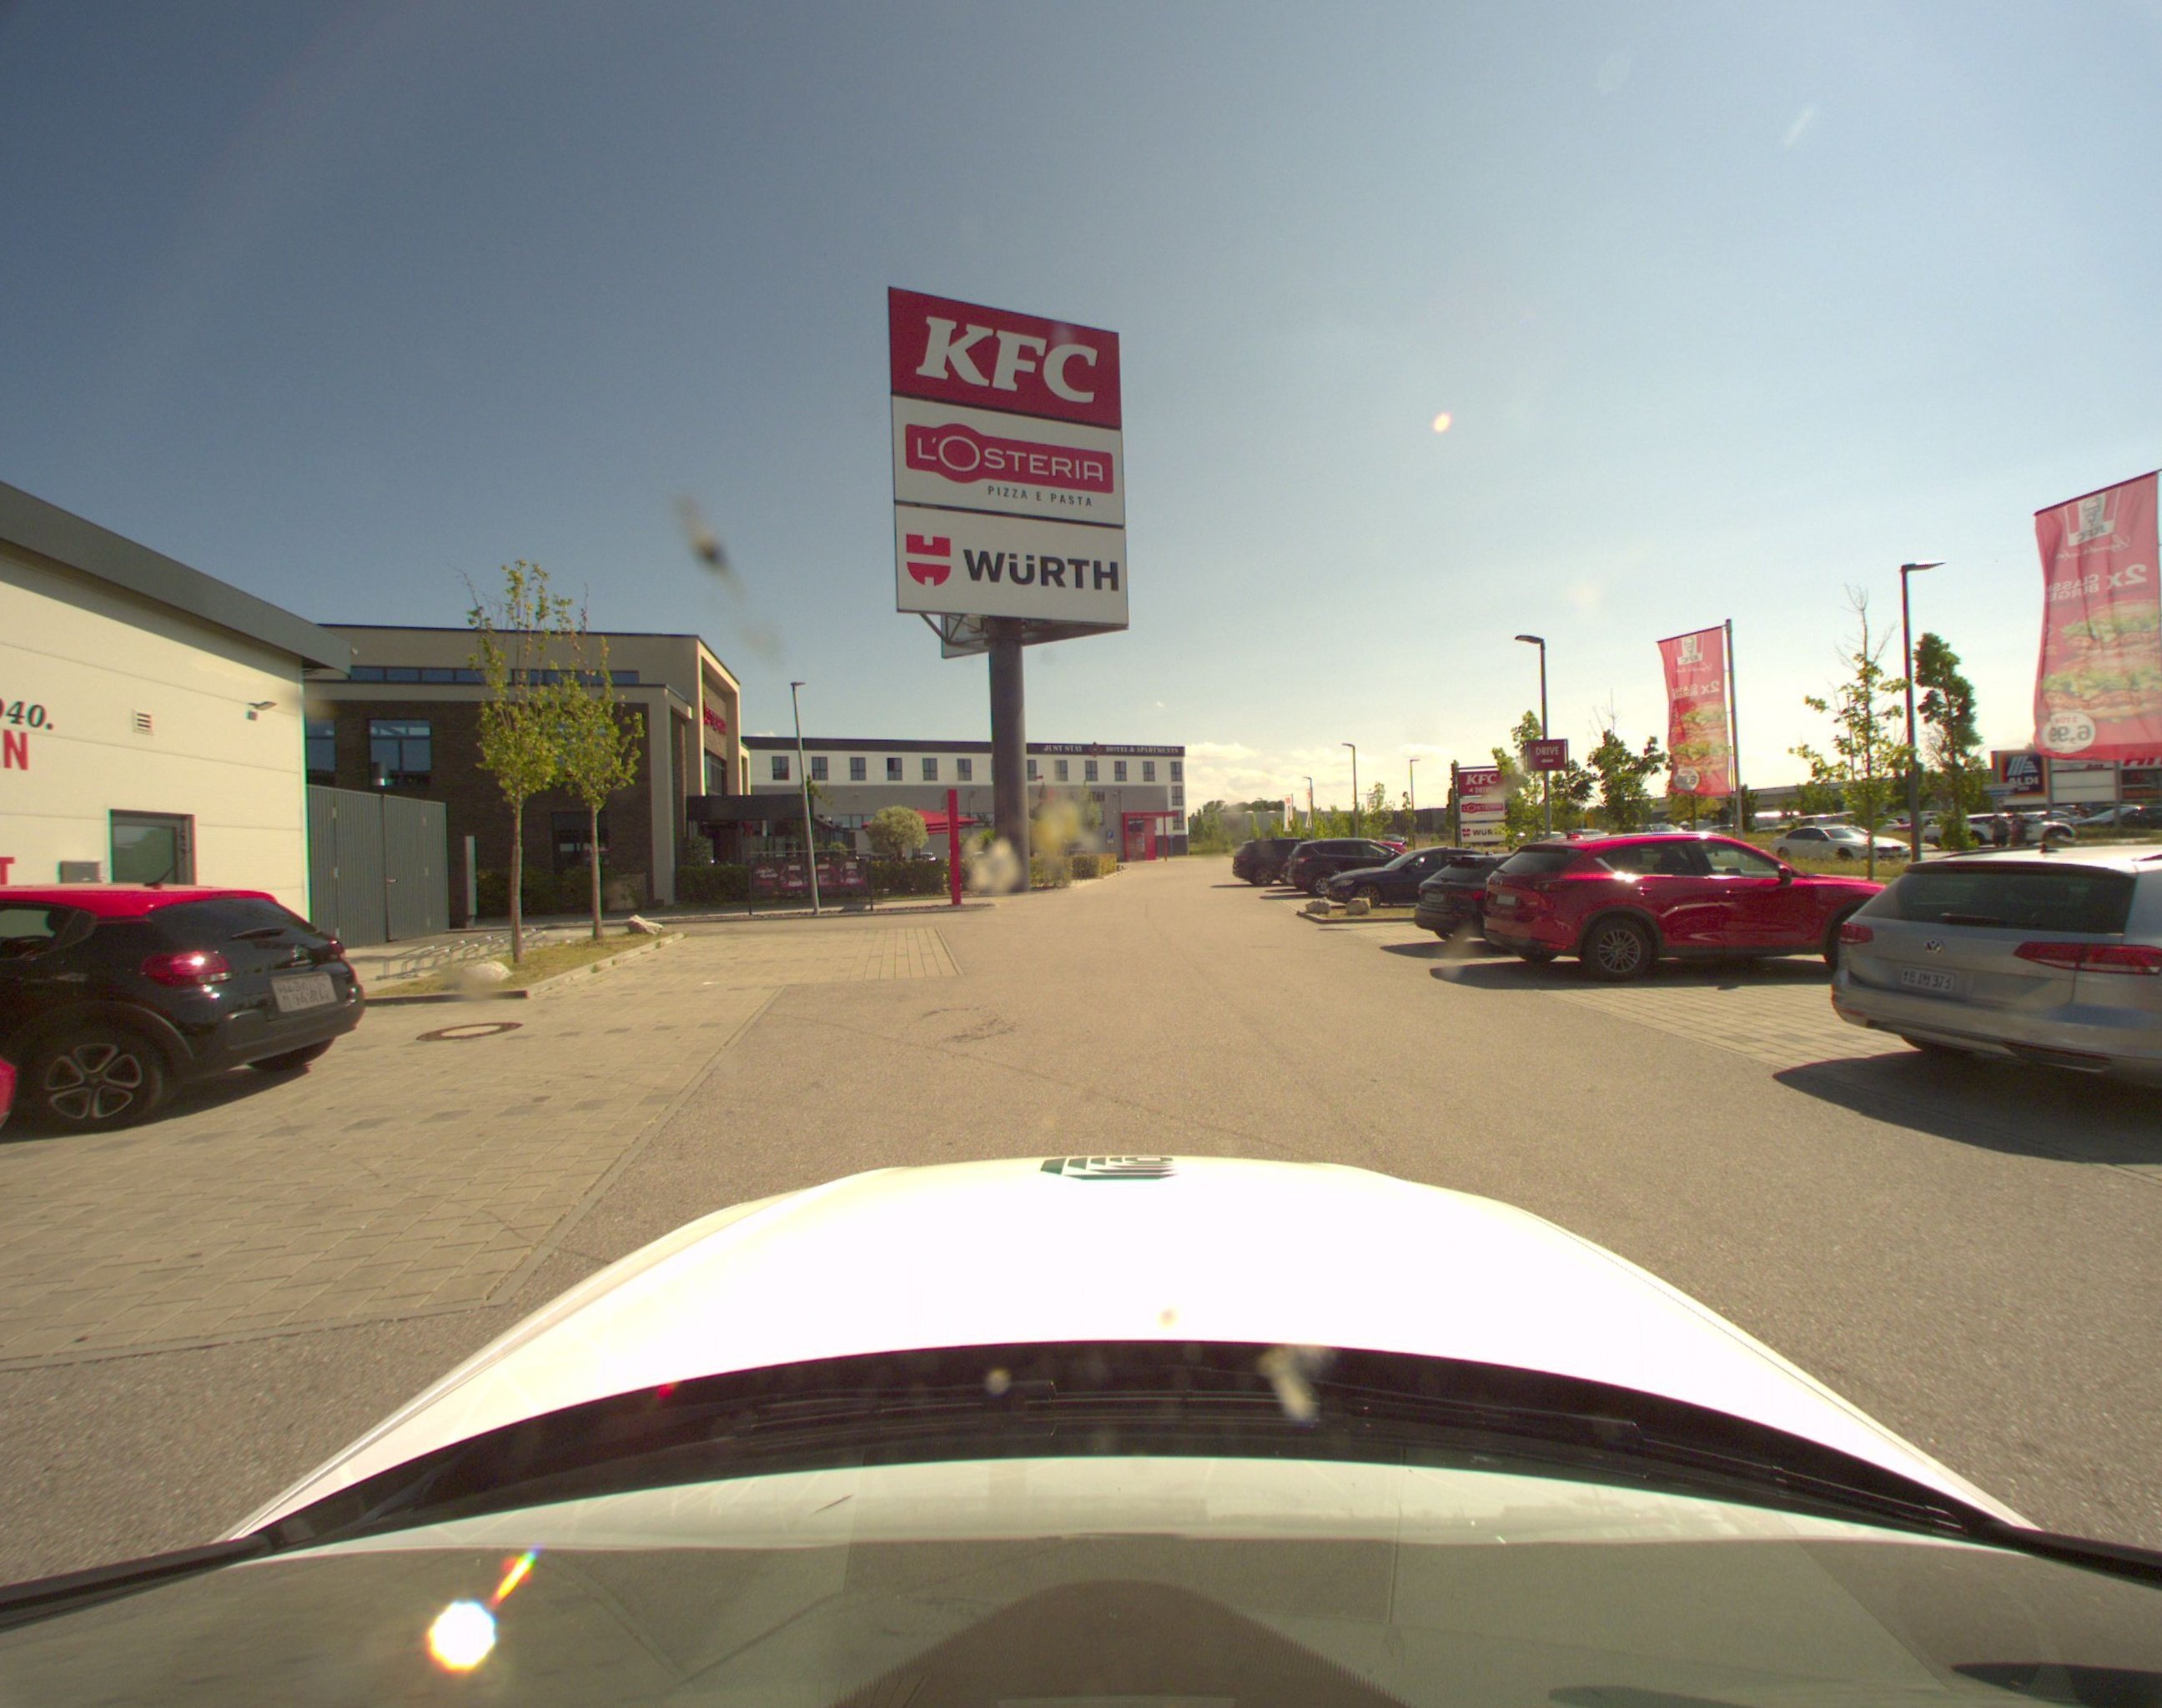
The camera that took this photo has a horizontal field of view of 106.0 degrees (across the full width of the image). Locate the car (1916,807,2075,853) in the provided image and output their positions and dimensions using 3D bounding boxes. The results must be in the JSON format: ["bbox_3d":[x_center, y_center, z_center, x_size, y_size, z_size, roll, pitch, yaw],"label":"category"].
[{"bbox_3d":[41.353,-1.076,36.970,4.357,1.845,2.010,-2,1,18],"label":"car"}]

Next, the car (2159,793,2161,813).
[{"bbox_3d":[84.390,-3.933,61.365,1.666,1.552,3.455,-2,1,-18],"label":"car"}]

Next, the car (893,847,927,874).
[{"bbox_3d":[-9.178,0.322,43.876,1.643,1.308,3.828,-2,0,-10],"label":"car"}]

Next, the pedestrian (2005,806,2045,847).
[{"bbox_3d":[37.565,-1.080,32.419,0.685,1.599,0.759,-2,1,12],"label":"pedestrian"}]

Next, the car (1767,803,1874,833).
[{"bbox_3d":[61.121,-2.956,67.413,6.271,2.237,2.817,-2,1,0],"label":"car"}]

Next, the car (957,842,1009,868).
[{"bbox_3d":[-6.235,0.064,51.414,1.957,1.530,4.341,-2,1,-24],"label":"car"}]

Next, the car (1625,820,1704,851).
[{"bbox_3d":[34.611,-1.109,48.459,1.862,1.664,4.613,-2,1,7],"label":"car"}]

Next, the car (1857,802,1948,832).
[{"bbox_3d":[62.542,-2.795,62.049,5.152,2.013,1.997,-2,1,-4],"label":"car"}]

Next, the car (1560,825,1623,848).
[{"bbox_3d":[36.572,-1.235,58.503,1.983,1.504,4.665,-2,1,6],"label":"car"}]

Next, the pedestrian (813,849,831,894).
[{"bbox_3d":[-8.954,0.606,28.183,0.525,1.505,0.566,-2,1,-16],"label":"pedestrian"}]

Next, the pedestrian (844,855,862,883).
[{"bbox_3d":[-10.324,0.662,36.857,0.710,1.198,0.663,-2,1,-21],"label":"pedestrian"}]

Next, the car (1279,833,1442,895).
[{"bbox_3d":[8.325,0.283,24.571,4.301,1.702,1.897,-1,0,2],"label":"car"}]

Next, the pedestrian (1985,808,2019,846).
[{"bbox_3d":[37.684,-1.100,33.327,0.619,1.556,0.669,-2,1,12],"label":"pedestrian"}]

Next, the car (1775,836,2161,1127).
[{"bbox_3d":[7.232,0.592,4.974,4.573,1.413,1.740,-1,0,-1],"label":"car"}]

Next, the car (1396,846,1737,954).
[{"bbox_3d":[7.200,0.631,12.342,4.184,1.410,1.771,-1,0,-4],"label":"car"}]

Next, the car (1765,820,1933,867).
[{"bbox_3d":[27.831,-0.404,29.766,1.984,1.526,4.664,-2,1,5],"label":"car"}]

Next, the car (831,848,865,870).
[{"bbox_3d":[-17.012,0.360,59.377,1.740,1.487,3.919,-2,1,-24],"label":"car"}]

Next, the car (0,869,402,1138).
[{"bbox_3d":[-7.295,0.918,5.373,3.901,1.506,1.732,-1,0,-14],"label":"car"}]

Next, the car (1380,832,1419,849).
[{"bbox_3d":[34.825,-1.512,89.176,1.992,1.732,4.747,-2,1,-7],"label":"car"}]

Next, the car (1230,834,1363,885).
[{"bbox_3d":[8.051,0.186,30.733,4.554,1.760,1.898,-1,0,4],"label":"car"}]

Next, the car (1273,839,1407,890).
[{"bbox_3d":[8.773,0.321,27.884,4.047,1.608,1.899,-1,1,6],"label":"car"}]

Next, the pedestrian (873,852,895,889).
[{"bbox_3d":[-7.655,0.637,31.606,0.654,1.366,0.476,-3,1,-38],"label":"pedestrian"}]

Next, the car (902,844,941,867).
[{"bbox_3d":[-12.098,0.113,61.651,1.957,1.585,4.341,-2,1,-24],"label":"car"}]

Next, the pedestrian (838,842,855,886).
[{"bbox_3d":[-8.145,0.337,28.279,0.525,1.505,0.566,-2,1,-16],"label":"pedestrian"}]

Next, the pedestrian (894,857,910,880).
[{"bbox_3d":[-8.691,0.685,39.607,0.574,1.089,0.545,-2,1,3],"label":"pedestrian"}]

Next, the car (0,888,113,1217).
[{"bbox_3d":[-6.758,0.925,2.639,4.396,1.413,1.731,-1,0,-16],"label":"car"}]

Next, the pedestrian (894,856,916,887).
[{"bbox_3d":[-6.875,0.673,31.830,0.654,1.185,0.476,-3,1,-38],"label":"pedestrian"}]

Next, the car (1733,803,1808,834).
[{"bbox_3d":[60.836,-3.101,71.865,5.050,2.455,1.997,-2,1,-4],"label":"car"}]

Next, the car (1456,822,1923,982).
[{"bbox_3d":[7.069,0.505,9.810,4.205,1.638,1.950,-1,0,-1],"label":"car"}]

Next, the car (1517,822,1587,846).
[{"bbox_3d":[31.643,-1.328,54.859,1.987,1.526,4.657,-2,1,0],"label":"car"}]

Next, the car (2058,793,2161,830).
[{"bbox_3d":[57.170,-2.353,44.538,4.692,1.846,2.004,-2,1,7],"label":"car"}]

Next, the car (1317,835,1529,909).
[{"bbox_3d":[8.214,0.425,19.903,4.414,1.638,1.899,-1,0,6],"label":"car"}]

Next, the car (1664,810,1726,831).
[{"bbox_3d":[62.873,-3.418,83.429,5.050,2.013,1.997,-2,1,-4],"label":"car"}]

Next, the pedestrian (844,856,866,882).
[{"bbox_3d":[-10.497,0.689,37.843,0.702,1.198,0.619,-2,1,17],"label":"pedestrian"}]

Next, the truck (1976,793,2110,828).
[{"bbox_3d":[58.426,-2.636,49.568,5.387,1.863,2.004,-2,1,6],"label":"truck"}]

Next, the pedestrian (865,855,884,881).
[{"bbox_3d":[-9.668,0.654,38.141,0.707,1.198,0.615,-2,1,-5],"label":"pedestrian"}]

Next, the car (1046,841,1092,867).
[{"bbox_3d":[-0.993,0.005,64.968,2.079,1.880,4.844,-2,1,-22],"label":"car"}]

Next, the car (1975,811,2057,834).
[{"bbox_3d":[75.910,-2.540,66.191,1.990,1.618,3.993,-2,0,-5],"label":"car"}]
